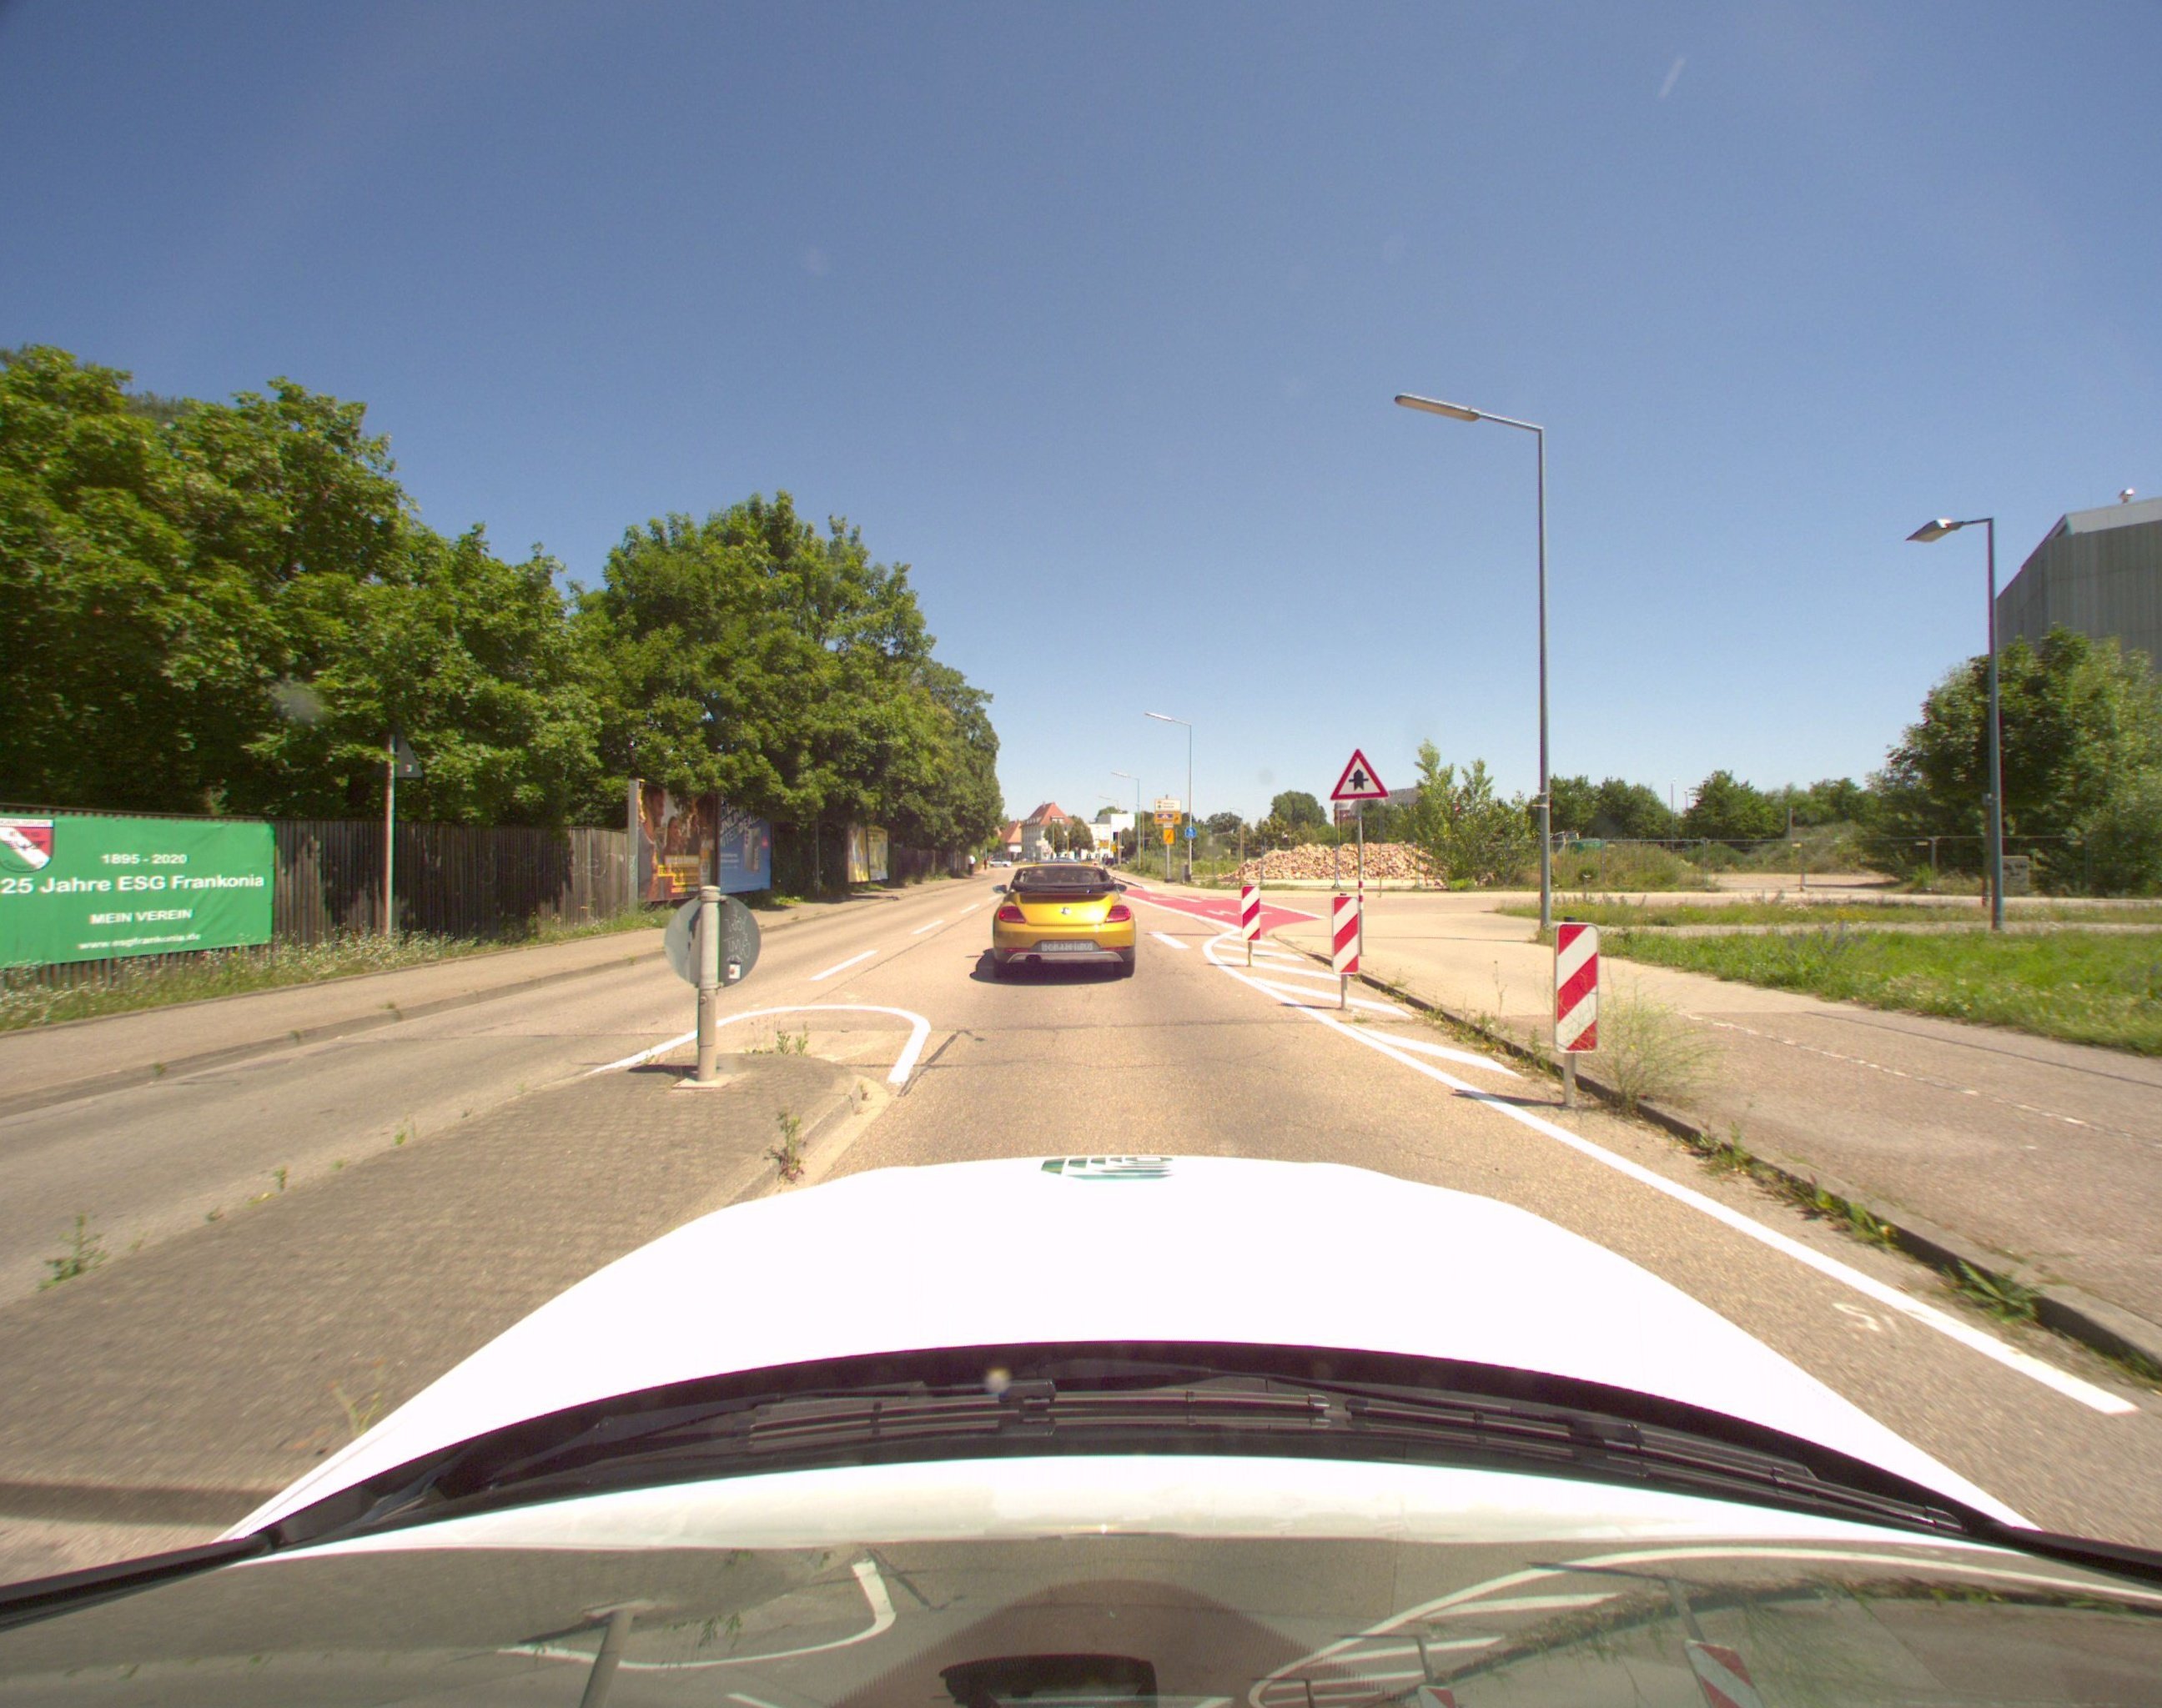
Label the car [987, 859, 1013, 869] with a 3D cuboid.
[{"bbox_3d":[-13.851,1.686,138.622,4.037,1.677,1.790,-1,0,11],"label":"car"}]

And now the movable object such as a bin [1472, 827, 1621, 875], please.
[{"bbox_3d":[34.589,-0.183,61.276,4.927,3.260,10.458,0,0,-3],"label":"movable object such as a bin"}]

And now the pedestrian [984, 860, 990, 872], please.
[{"bbox_3d":[-12.092,1.506,104.291,0.721,1.454,0.816,0,-1,-5],"label":"pedestrian"}]

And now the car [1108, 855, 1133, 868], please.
[{"bbox_3d":[6.550,1.209,134.993,3.966,2.014,2.004,-1,-1,7],"label":"car"}]

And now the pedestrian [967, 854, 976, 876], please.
[{"bbox_3d":[-8.870,0.889,65.890,0.721,1.725,0.816,0,-1,-5],"label":"pedestrian"}]

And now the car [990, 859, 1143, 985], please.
[{"bbox_3d":[-0.247,0.810,11.471,1.786,1.436,3.810,-1,0,-3],"label":"car"}]

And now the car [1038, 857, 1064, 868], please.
[{"bbox_3d":[-4.918,1.377,133.467,3.963,1.613,1.795,-1,-1,9],"label":"car"}]

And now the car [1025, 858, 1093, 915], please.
[{"bbox_3d":[-0.590,0.847,22.715,1.721,1.443,3.998,-1,0,-1],"label":"car"}]
